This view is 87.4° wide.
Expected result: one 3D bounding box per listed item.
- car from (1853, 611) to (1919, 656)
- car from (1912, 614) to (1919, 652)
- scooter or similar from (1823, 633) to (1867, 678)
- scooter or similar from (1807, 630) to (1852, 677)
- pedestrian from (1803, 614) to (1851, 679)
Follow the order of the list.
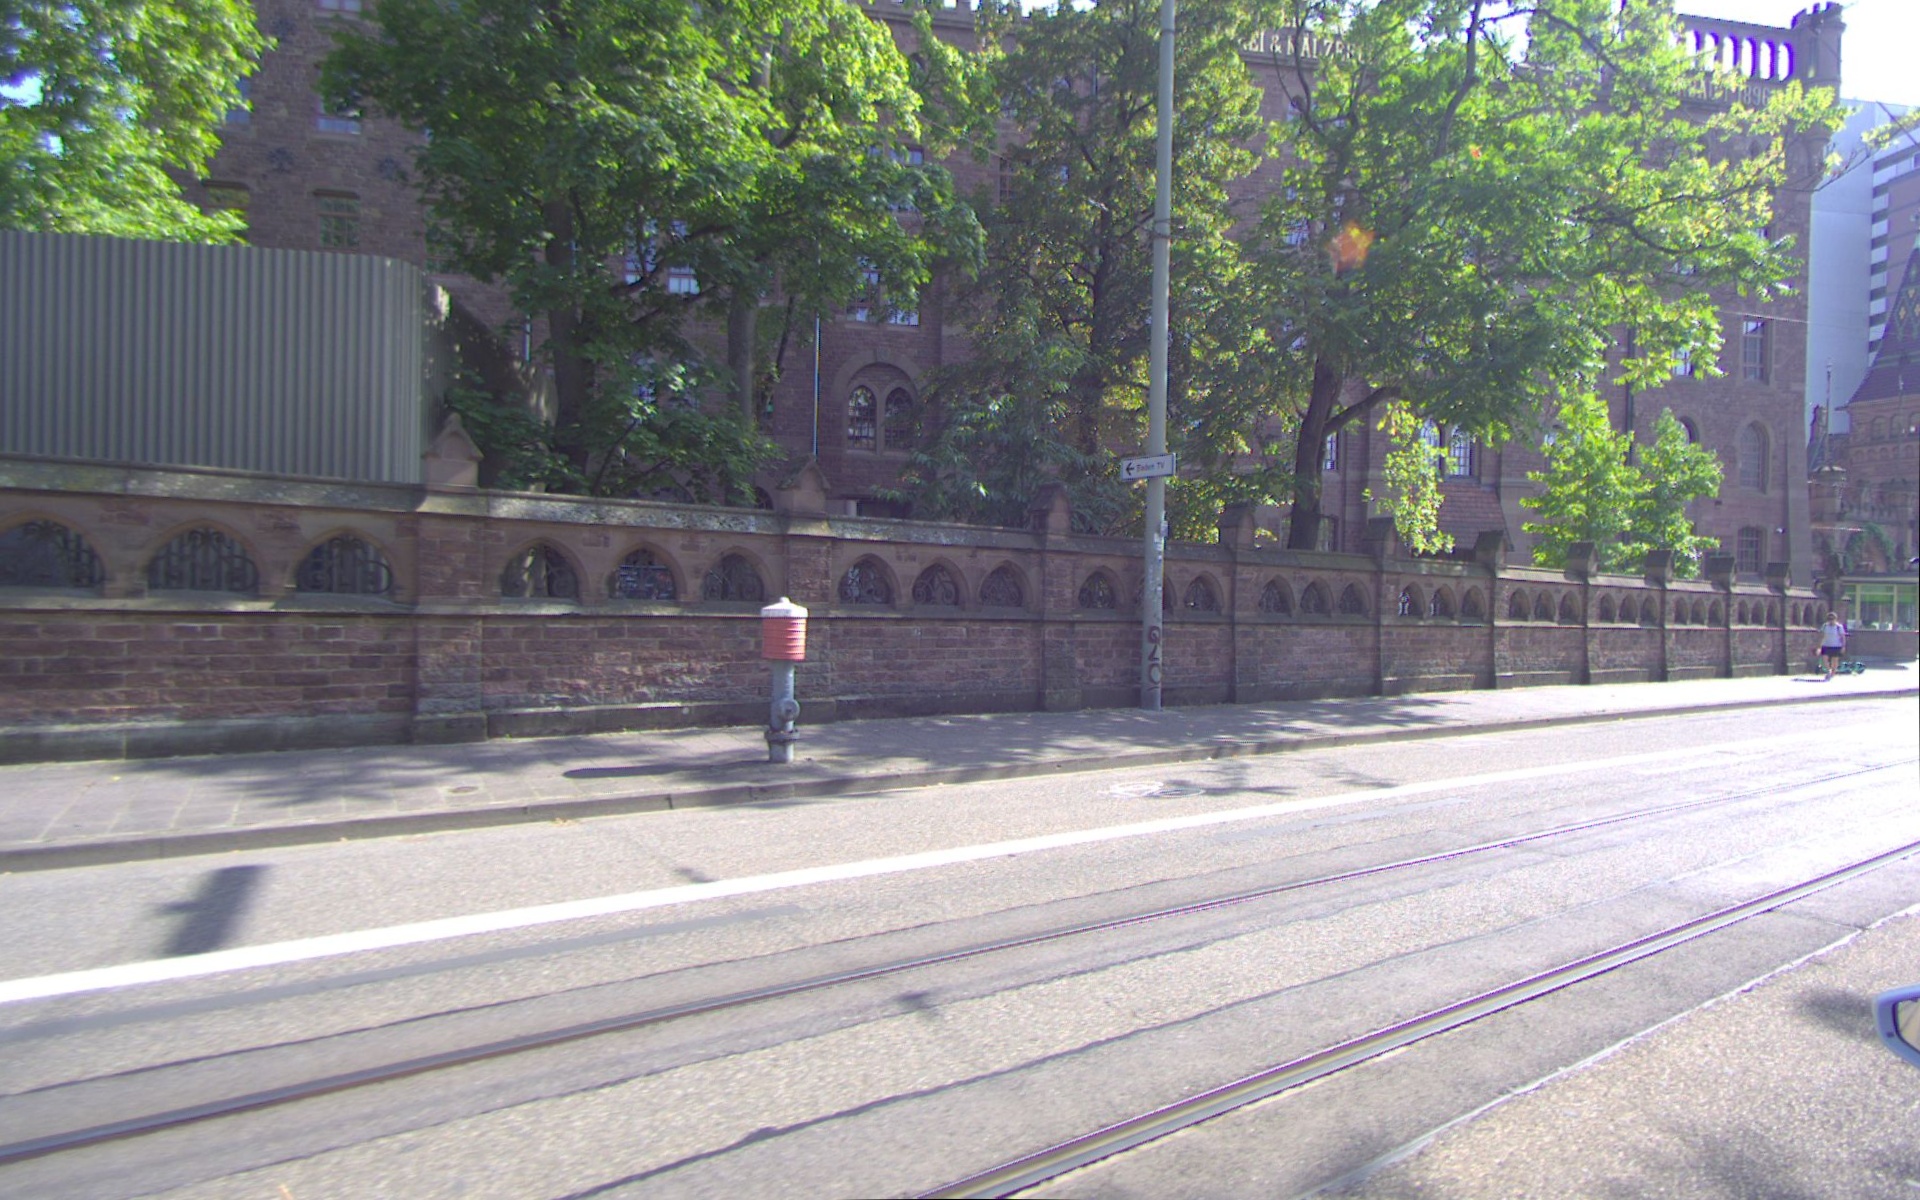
[{"bbox_3d":[38.878,1.431,40.489,1.801,1.617,3.880,1,4,-30],"label":"car"},{"bbox_3d":[44.114,1.638,43.087,1.937,1.668,4.367,1,4,-35],"label":"car"},{"bbox_3d":[24.320,1.527,27.614,0.801,1.163,0.284,4,1,21],"label":"scooter or similar"},{"bbox_3d":[23.312,1.430,26.928,0.801,1.163,0.284,4,1,21],"label":"scooter or similar"},{"bbox_3d":[21.922,1.167,25.407,0.767,1.610,0.711,2,0,-34],"label":"pedestrian"}]
